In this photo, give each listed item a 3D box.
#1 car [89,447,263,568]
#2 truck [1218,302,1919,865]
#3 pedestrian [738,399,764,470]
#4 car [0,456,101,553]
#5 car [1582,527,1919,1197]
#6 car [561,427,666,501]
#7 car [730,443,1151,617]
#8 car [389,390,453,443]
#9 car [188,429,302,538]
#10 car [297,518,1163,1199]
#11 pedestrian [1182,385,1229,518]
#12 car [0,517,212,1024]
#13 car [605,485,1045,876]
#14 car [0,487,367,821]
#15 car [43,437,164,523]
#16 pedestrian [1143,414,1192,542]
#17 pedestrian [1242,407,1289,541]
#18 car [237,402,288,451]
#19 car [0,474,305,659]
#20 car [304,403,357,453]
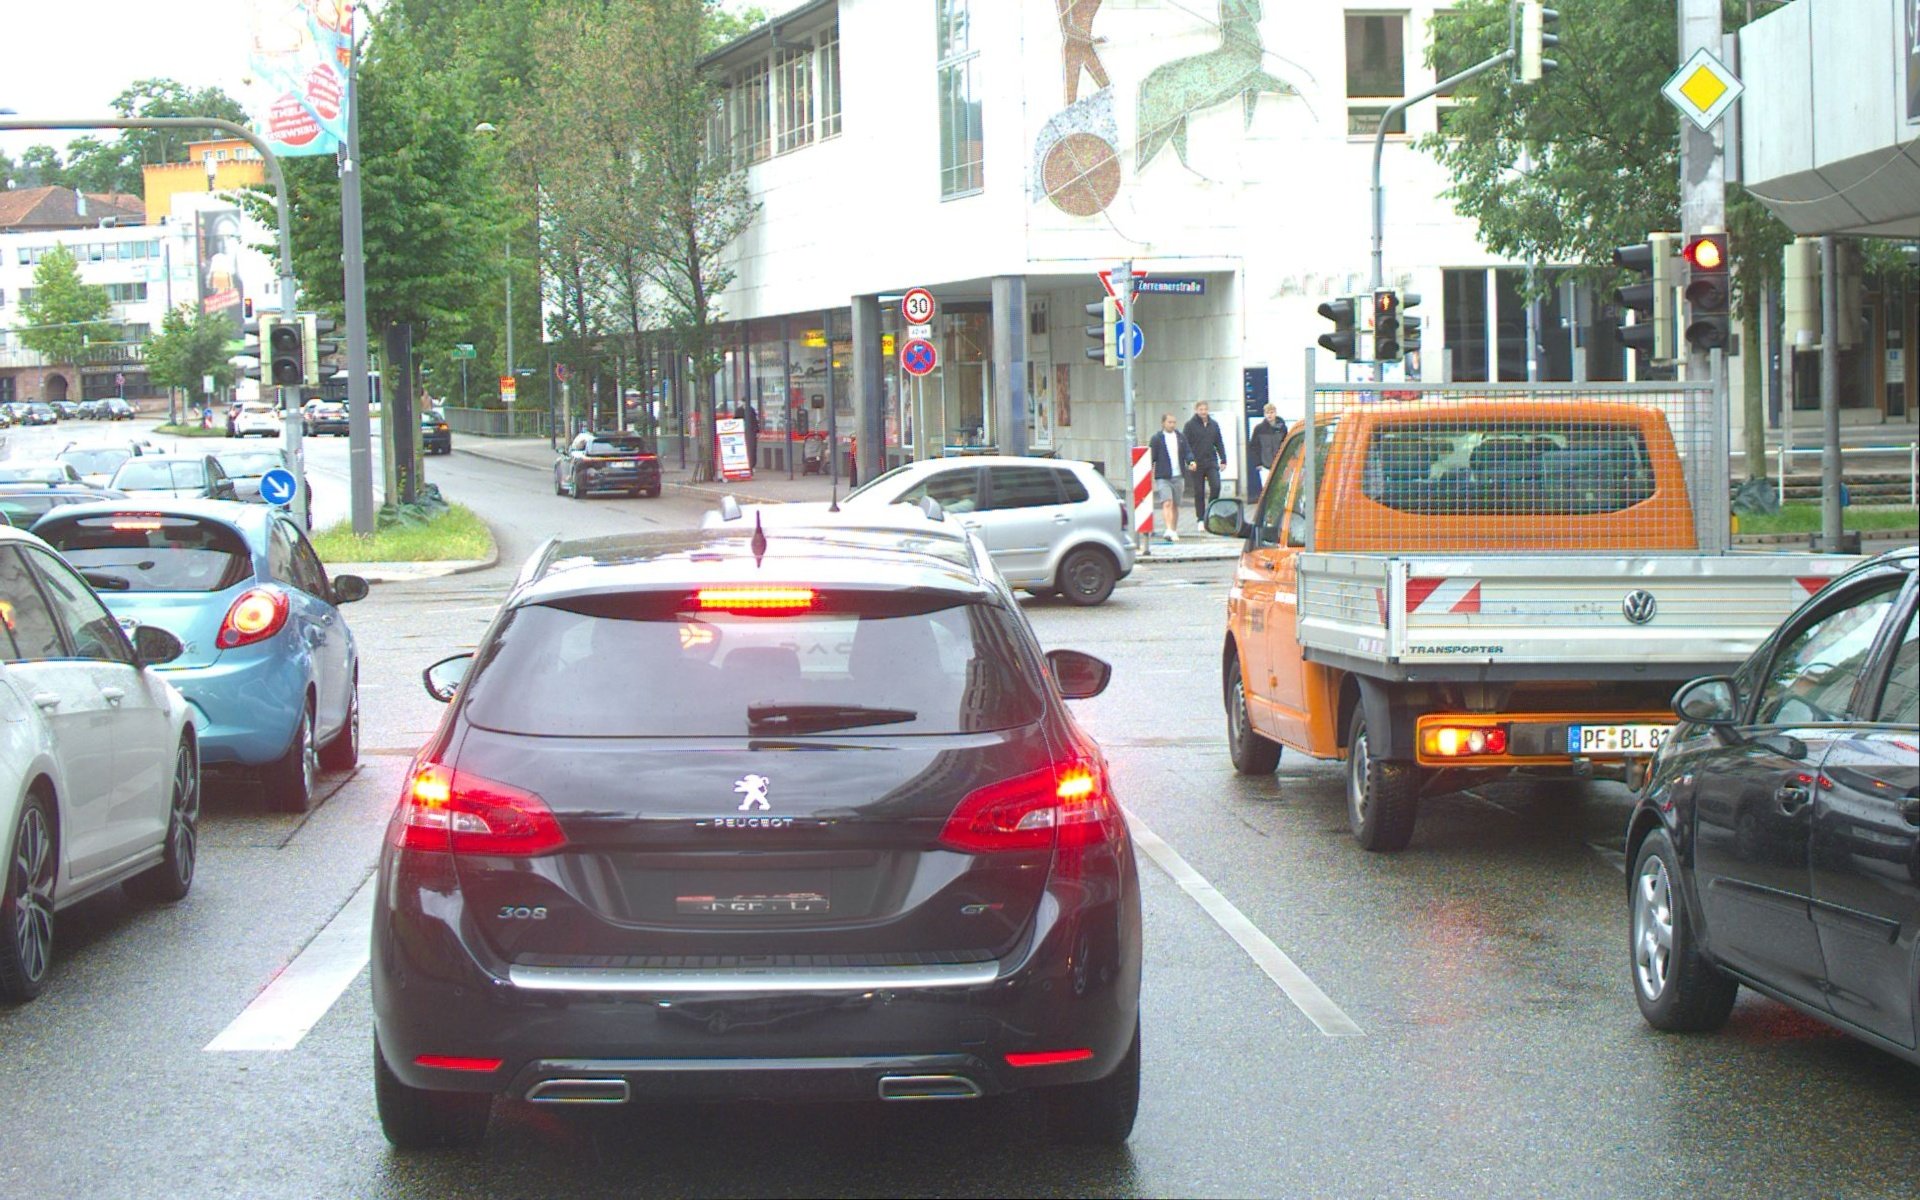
[{"bbox_3d":[-10.905,-1.259,48.030,1.744,1.574,4.000,1,0,-4],"label":"car"},{"bbox_3d":[2.586,-0.162,15.833,2.177,2.165,5.021,1,2,-3],"label":"truck"},{"bbox_3d":[-5.182,-4.102,85.265,0.468,1.742,0.541,1,0,-21],"label":"pedestrian"},{"bbox_3d":[-14.704,-1.538,54.547,1.632,1.481,3.611,0,2,-7],"label":"car"},{"bbox_3d":[2.834,0.557,8.640,1.616,1.424,3.843,0,2,-3],"label":"car"},{"bbox_3d":[-7.587,-2.987,75.005,1.787,1.449,4.508,-3,4,-11],"label":"car"},{"bbox_3d":[-0.205,-0.708,33.457,3.740,1.463,1.639,-3,3,-16],"label":"car"},{"bbox_3d":[-18.068,-6.129,115.091,1.724,1.485,4.734,1,0,-14],"label":"car"},{"bbox_3d":[-11.627,-1.868,56.095,1.744,1.634,4.001,1,0,-11],"label":"car"},{"bbox_3d":[-0.473,0.519,9.008,1.777,1.424,3.842,1,2,0],"label":"car"},{"bbox_3d":[3.546,-2.135,49.690,0.637,1.891,0.733,0,0,6],"label":"pedestrian"},{"bbox_3d":[-3.719,0.451,11.445,1.777,1.424,3.843,0,2,-3],"label":"car"},{"bbox_3d":[-0.551,0.250,15.244,1.696,1.481,3.794,1,2,-1],"label":"car"},{"bbox_3d":[-3.974,0.189,17.414,1.632,1.481,3.610,0,2,-5],"label":"car"},{"bbox_3d":[-15.222,-2.151,61.225,1.632,1.481,3.611,0,2,-7],"label":"car"},{"bbox_3d":[2.893,-1.697,47.934,0.637,1.752,0.733,0,0,6],"label":"pedestrian"},{"bbox_3d":[4.379,-1.793,49.271,0.637,1.891,0.733,0,0,6],"label":"pedestrian"},{"bbox_3d":[-29.627,-7.336,145.935,1.705,1.875,4.001,1,0,-18],"label":"car"},{"bbox_3d":[-7.922,-0.305,28.835,1.637,1.481,4.726,3,3,42],"label":"car"},{"bbox_3d":[-26.955,-7.340,147.167,1.705,1.929,4.001,1,0,-18],"label":"car"}]
